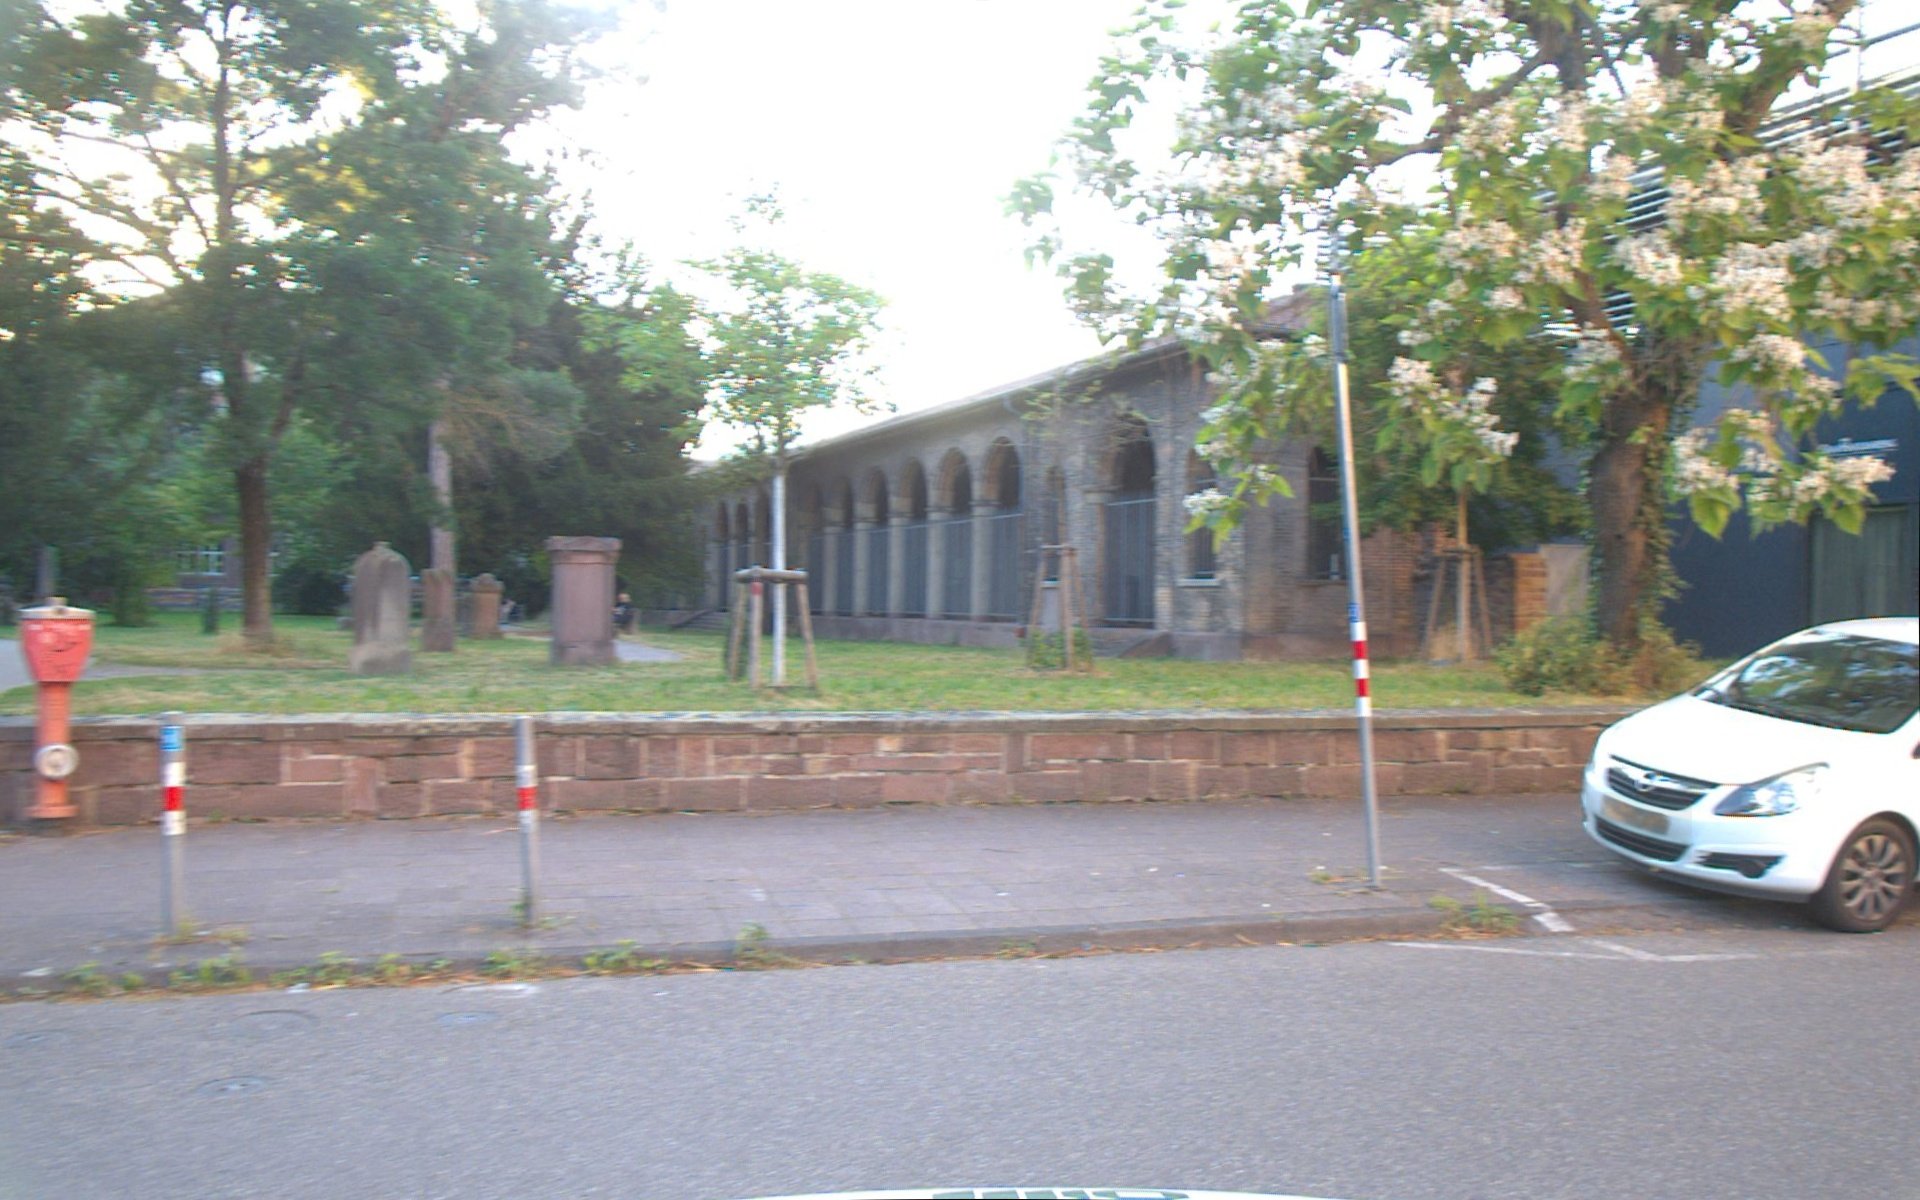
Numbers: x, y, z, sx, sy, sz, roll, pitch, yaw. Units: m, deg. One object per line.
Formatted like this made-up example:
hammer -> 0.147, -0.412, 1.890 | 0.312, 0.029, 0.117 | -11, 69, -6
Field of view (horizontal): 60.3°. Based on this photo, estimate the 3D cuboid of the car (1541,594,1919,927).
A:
car -> 5.457, 0.779, 9.565 | 3.818, 1.540, 1.656 | 0, 3, -23

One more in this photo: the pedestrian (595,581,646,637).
pedestrian -> -8.947, 0.231, 43.636 | 1.254, 1.451, 1.234 | 0, 0, -10
